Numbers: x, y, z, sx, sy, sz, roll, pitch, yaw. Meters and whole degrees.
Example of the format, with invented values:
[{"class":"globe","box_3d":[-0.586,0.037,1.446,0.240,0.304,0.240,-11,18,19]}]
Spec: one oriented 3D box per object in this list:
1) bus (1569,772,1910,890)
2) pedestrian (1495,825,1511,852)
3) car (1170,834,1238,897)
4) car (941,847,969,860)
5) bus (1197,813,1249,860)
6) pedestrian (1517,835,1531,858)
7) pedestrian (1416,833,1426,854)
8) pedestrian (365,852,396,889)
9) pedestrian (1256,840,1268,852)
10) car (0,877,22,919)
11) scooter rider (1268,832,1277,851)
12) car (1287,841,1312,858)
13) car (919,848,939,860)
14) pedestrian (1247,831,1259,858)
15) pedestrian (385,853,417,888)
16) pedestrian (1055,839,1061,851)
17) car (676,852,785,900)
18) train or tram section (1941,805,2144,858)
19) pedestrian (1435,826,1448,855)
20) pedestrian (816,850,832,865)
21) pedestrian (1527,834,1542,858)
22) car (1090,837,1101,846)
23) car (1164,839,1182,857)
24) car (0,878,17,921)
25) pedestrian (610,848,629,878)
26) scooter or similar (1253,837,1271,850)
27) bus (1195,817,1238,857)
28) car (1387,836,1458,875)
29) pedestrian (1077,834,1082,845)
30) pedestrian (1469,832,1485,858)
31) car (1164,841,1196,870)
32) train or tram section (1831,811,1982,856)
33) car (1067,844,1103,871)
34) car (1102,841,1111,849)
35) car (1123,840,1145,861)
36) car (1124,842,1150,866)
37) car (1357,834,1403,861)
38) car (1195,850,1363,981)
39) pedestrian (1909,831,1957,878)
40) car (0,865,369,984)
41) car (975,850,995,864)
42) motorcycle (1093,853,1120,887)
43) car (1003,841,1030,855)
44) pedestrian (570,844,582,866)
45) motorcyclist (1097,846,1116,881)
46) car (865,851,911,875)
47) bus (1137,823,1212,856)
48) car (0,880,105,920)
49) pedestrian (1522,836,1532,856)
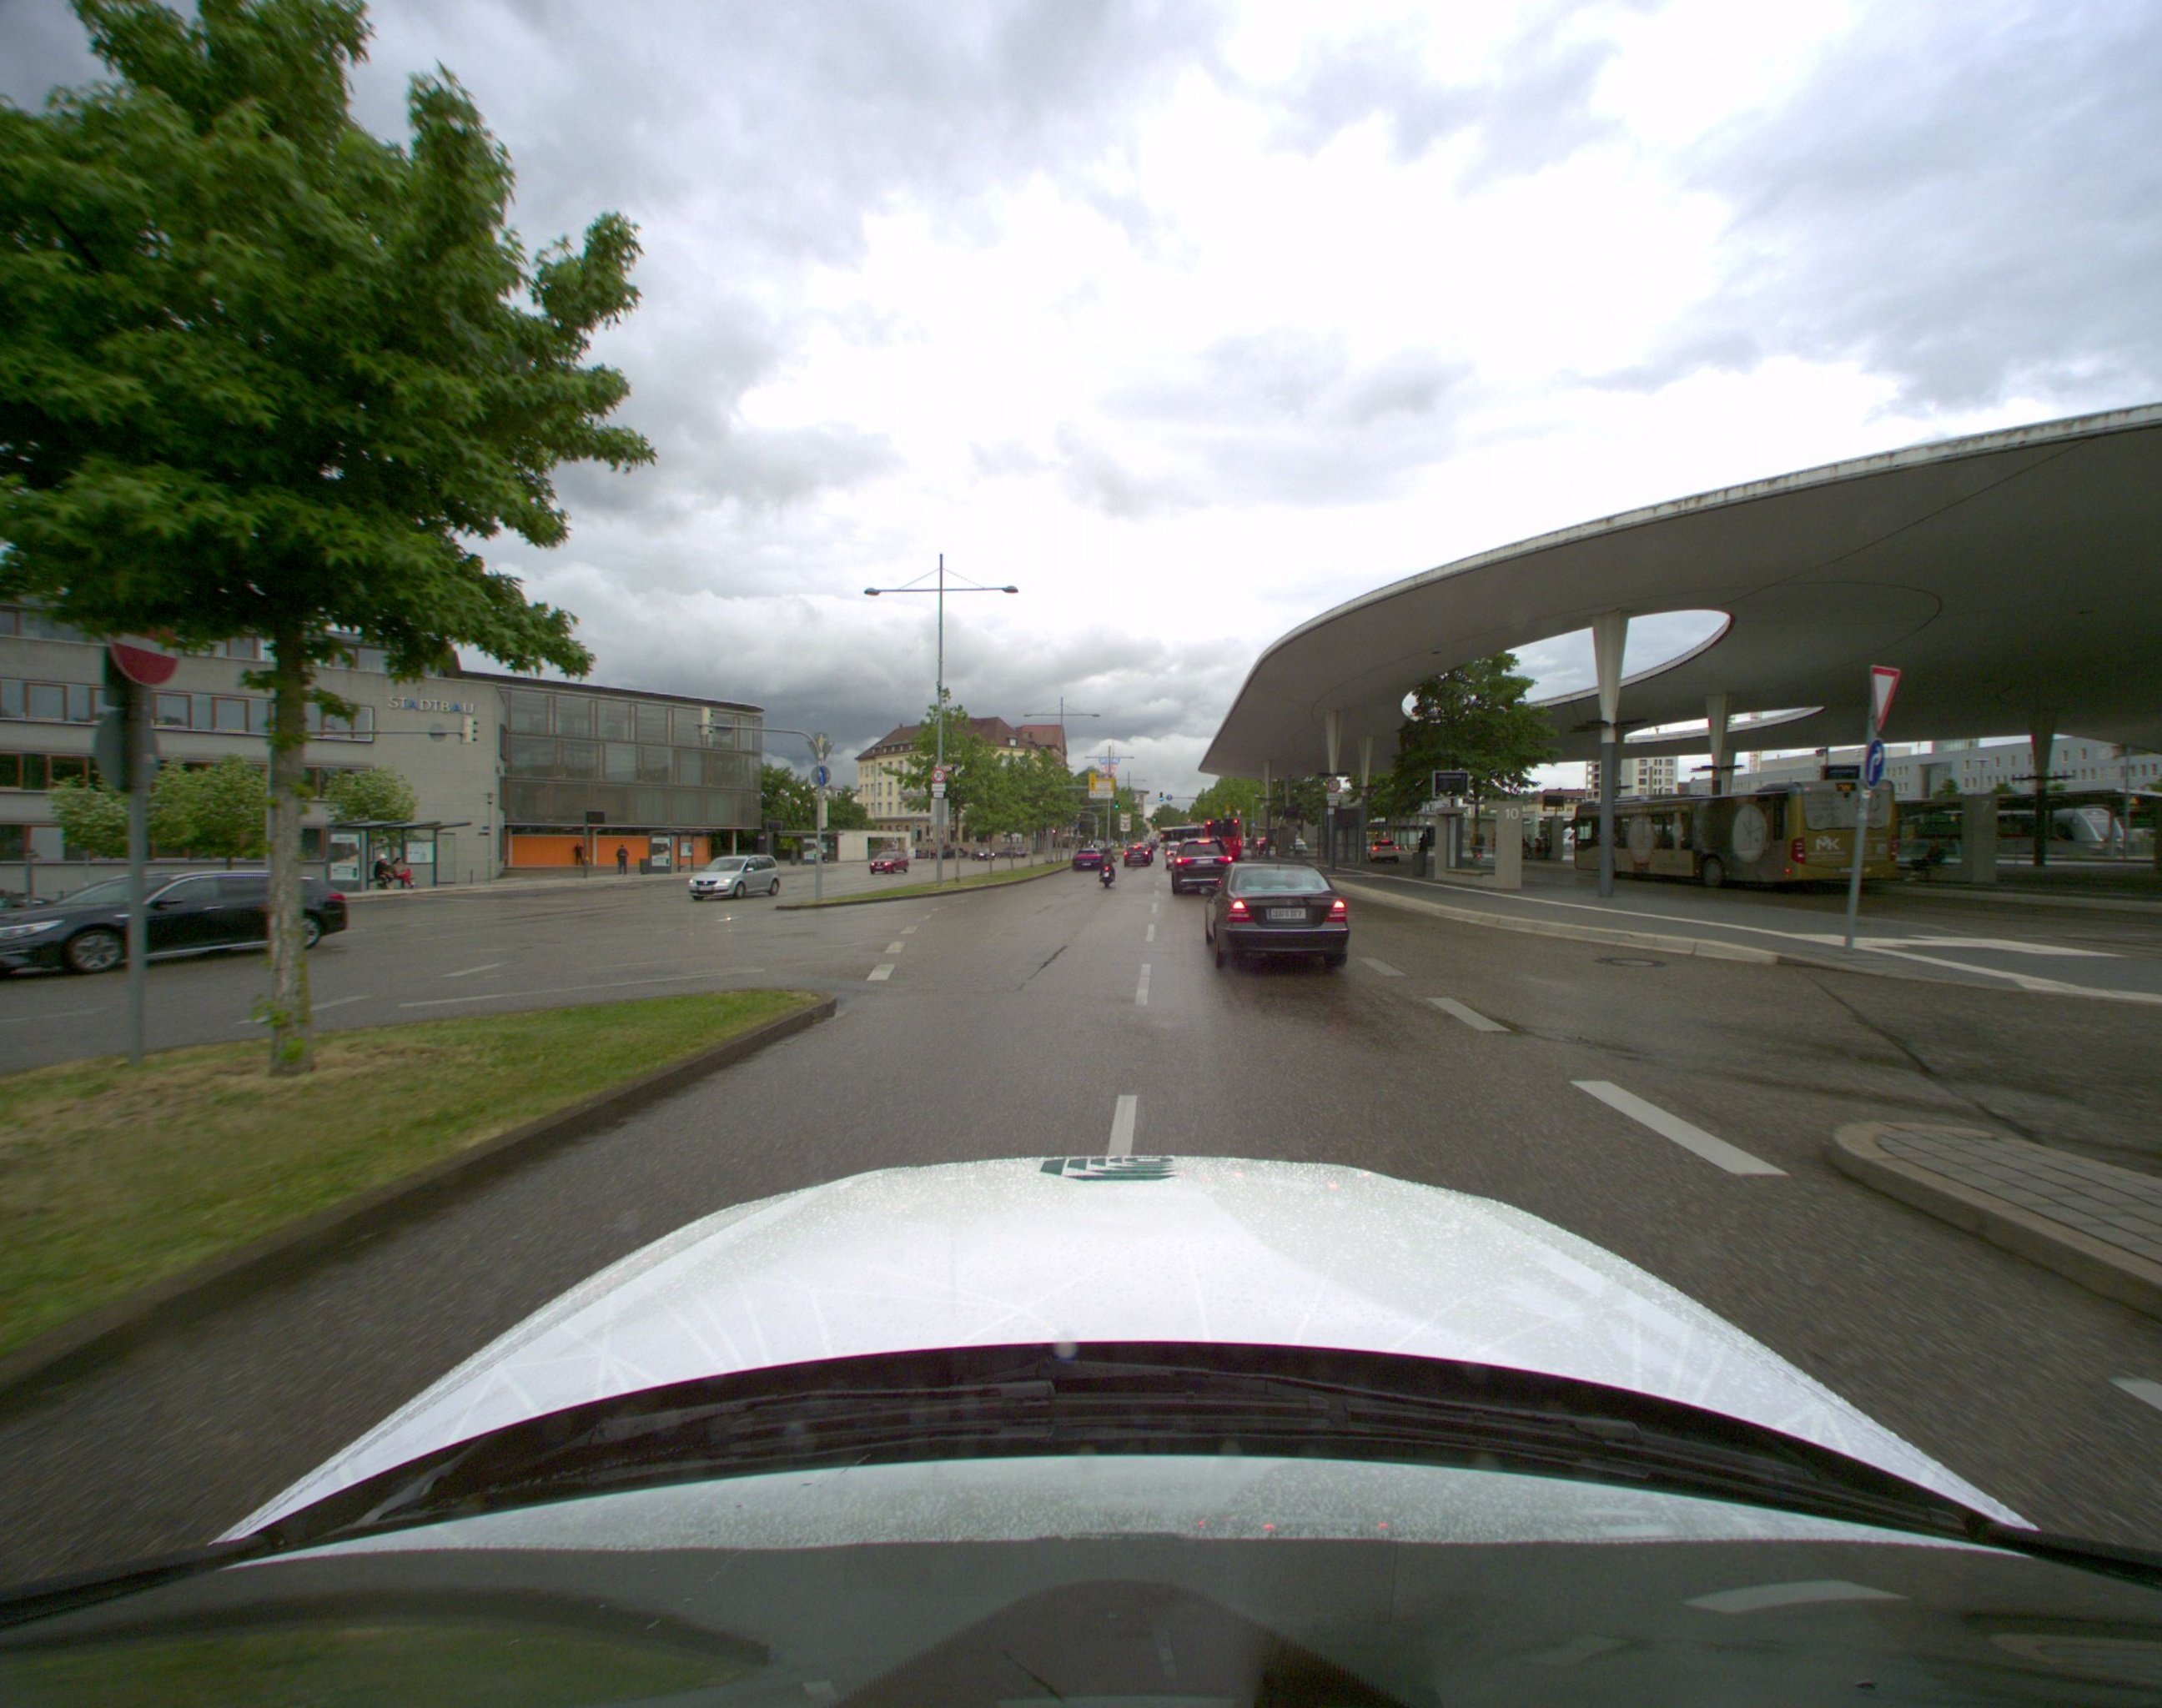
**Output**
[{"class":"bus","box_3d":[20.914,-0.693,27.444,2.708,3.043,12.109,-1,1,6]},{"class":"pedestrian","box_3d":[28.413,-1.065,54.827,0.704,1.707,0.771,-5,2,18]},{"class":"car","box_3d":[4.103,0.304,27.828,1.948,1.875,4.882,-3,1,6]},{"class":"car","box_3d":[-18.180,-0.079,117.175,2.129,1.776,4.343,-2,1,-37]},{"class":"bus","box_3d":[10.861,-1.347,63.198,3.269,3.291,10.898,-1,1,6]},{"class":"pedestrian","box_3d":[27.720,-0.446,50.970,0.558,1.444,0.614,-1,0,2]},{"class":"pedestrian","box_3d":[26.378,-0.845,63.227,0.573,1.578,0.565,1,-3,35]},{"class":"pedestrian","box_3d":[-27.835,0.657,32.379,0.675,1.469,0.626,-1,0,3]},{"class":"pedestrian","box_3d":[14.329,-0.631,64.453,0.906,0.985,0.637,0,-3,19]},{"class":"car","box_3d":[-41.716,1.685,29.700,1.612,1.495,3.604,-1,1,44]},{"class":"scooter rider","box_3d":[15.033,-0.993,64.024,0.586,1.490,0.768,-1,0,19]},{"class":"car","box_3d":[22.204,-0.498,82.804,1.704,1.662,4.246,0,1,5]},{"class":"car","box_3d":[-22.612,-0.034,121.175,1.670,1.604,3.218,-5,2,-34]},{"class":"pedestrian","box_3d":[12.899,-0.699,61.114,0.771,2.013,0.785,2,2,18]},{"class":"pedestrian","box_3d":[-27.661,0.660,33.137,0.675,1.392,0.721,-1,0,3]},{"class":"pedestrian","box_3d":[-4.007,-1.601,139.800,0.726,2.013,0.820,-2,1,-21]},{"class":"car","box_3d":[-13.114,0.762,30.763,1.838,1.652,4.426,0,0,5]},{"class":"train or tram section","box_3d":[76.117,-1.718,65.098,3.117,3.678,11.633,3,1,5]},{"class":"pedestrian","box_3d":[26.296,-0.973,59.396,0.716,2.014,0.674,2,-3,32]},{"class":"pedestrian","box_3d":[-22.671,0.310,71.837,0.967,1.267,0.854,4,2,26]},{"class":"pedestrian","box_3d":[27.725,-0.483,49.787,0.558,1.444,0.614,-1,0,2]},{"class":"car","box_3d":[2.772,-2.310,152.064,1.771,1.567,3.435,-3,1,6]},{"class":"car","box_3d":[8.574,-0.618,75.872,1.568,1.567,3.877,-3,1,6]},{"class":"car","box_3d":[-39.900,1.660,28.029,1.743,1.495,3.811,-1,1,44]},{"class":"pedestrian","box_3d":[-25.922,0.510,45.758,0.471,1.684,0.766,-1,0,12]},{"class":"scooter or similar","box_3d":[14.279,-0.795,64.283,1.232,1.013,0.768,-1,0,19]},{"class":"bus","box_3d":[11.905,-1.502,72.362,3.274,3.289,8.866,-1,1,6]},{"class":"car","box_3d":[13.471,0.015,32.314,1.640,1.453,3.241,0,1,4]},{"class":"pedestrian","box_3d":[-0.272,-2.735,155.714,0.726,1.965,0.820,-2,1,-21]},{"class":"pedestrian","box_3d":[24.944,-0.549,51.340,0.597,1.582,0.711,-1,-1,-4]},{"class":"car","box_3d":[5.967,0.058,49.391,1.732,1.567,3.877,-3,1,6]},{"class":"train or tram section","box_3d":[77.197,-1.893,76.714,3.117,3.680,11.633,3,1,5]},{"class":"car","box_3d":[0.306,0.188,51.804,1.807,1.570,4.411,-3,1,6]},{"class":"car","box_3d":[4.984,-1.724,158.154,1.568,1.567,3.435,-3,1,6]},{"class":"car","box_3d":[4.333,-0.334,65.826,1.568,1.567,3.877,-3,1,6]},{"class":"car","box_3d":[3.905,-0.016,56.766,1.567,1.504,3.878,-3,1,6]},{"class":"car","box_3d":[19.167,-0.423,52.328,1.704,1.662,4.246,0,1,5]},{"class":"car","box_3d":[2.667,0.733,11.913,1.690,1.462,4.309,-2,1,4]},{"class":"pedestrian","box_3d":[25.411,0.007,24.297,0.786,1.377,0.637,-1,0,23]},{"class":"car","box_3d":[-15.064,0.986,13.484,1.837,1.504,4.929,0,0,7]},{"class":"car","box_3d":[-10.880,0.286,92.247,1.683,1.528,4.617,-1,1,-14]},{"class":"motorcycle","box_3d":[1.019,0.613,32.225,0.788,1.262,1.860,-2,1,9]},{"class":"car","box_3d":[-8.132,-0.728,102.300,1.875,1.684,3.965,4,-2,-27]},{"class":"pedestrian","box_3d":[-38.316,0.061,61.788,0.469,1.684,0.647,-1,0,36]},{"class":"motorcyclist","box_3d":[0.994,0.379,32.220,0.638,1.347,0.690,-1,1,9]},{"class":"car","box_3d":[-13.537,0.610,57.292,1.813,1.552,4.040,-1,1,7]},{"class":"bus","box_3d":[11.874,-1.756,104.623,2.857,3.987,11.744,-1,0,-32]},{"class":"car","box_3d":[-43.166,1.878,33.441,1.613,1.495,3.602,-1,0,24]},{"class":"pedestrian","box_3d":[27.653,-0.497,50.516,0.454,1.250,0.566,1,1,35]}]
